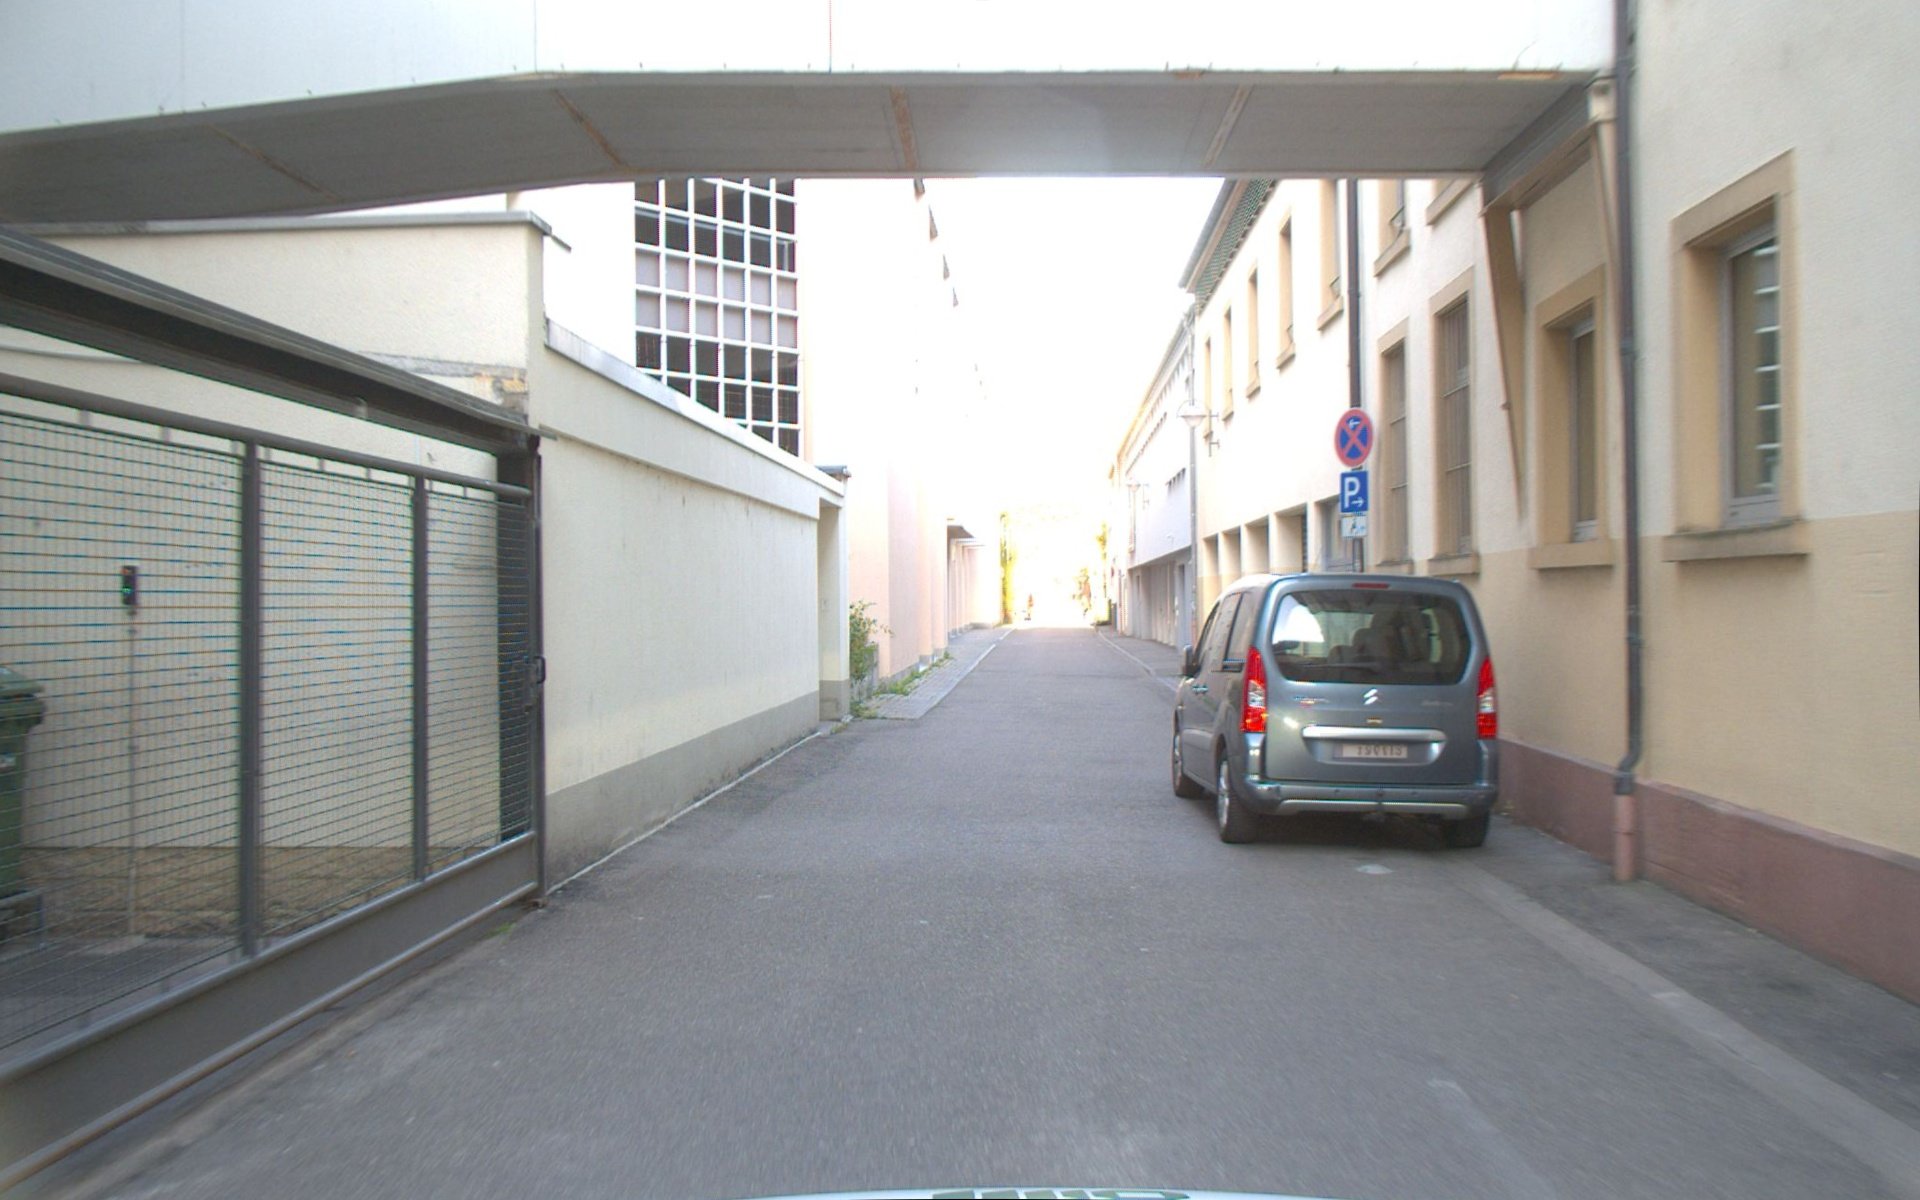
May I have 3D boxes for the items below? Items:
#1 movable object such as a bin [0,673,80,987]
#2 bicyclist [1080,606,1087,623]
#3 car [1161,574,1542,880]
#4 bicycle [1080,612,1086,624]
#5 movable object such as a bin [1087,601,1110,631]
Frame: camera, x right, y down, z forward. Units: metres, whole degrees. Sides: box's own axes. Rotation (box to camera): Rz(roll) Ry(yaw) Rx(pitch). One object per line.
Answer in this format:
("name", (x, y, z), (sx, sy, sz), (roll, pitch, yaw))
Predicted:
("movable object such as a bin", (-5.103, 1.095, 7.642), (1.156, 1.449, 1.590), (0, 0, 4))
("bicyclist", (9.621, 1.126, 129.172), (0.501, 1.346, 0.559), (0, 0, 5))
("car", (2.683, 0.815, 12.347), (1.817, 1.786, 4.162), (3, -1, 1))
("bicycle", (9.635, 1.427, 129.231), (0.433, 0.931, 1.517), (0, 0, 6))
("movable object such as a bin", (7.069, 0.790, 84.546), (1.084, 1.461, 1.415), (-1, 1, 3))
